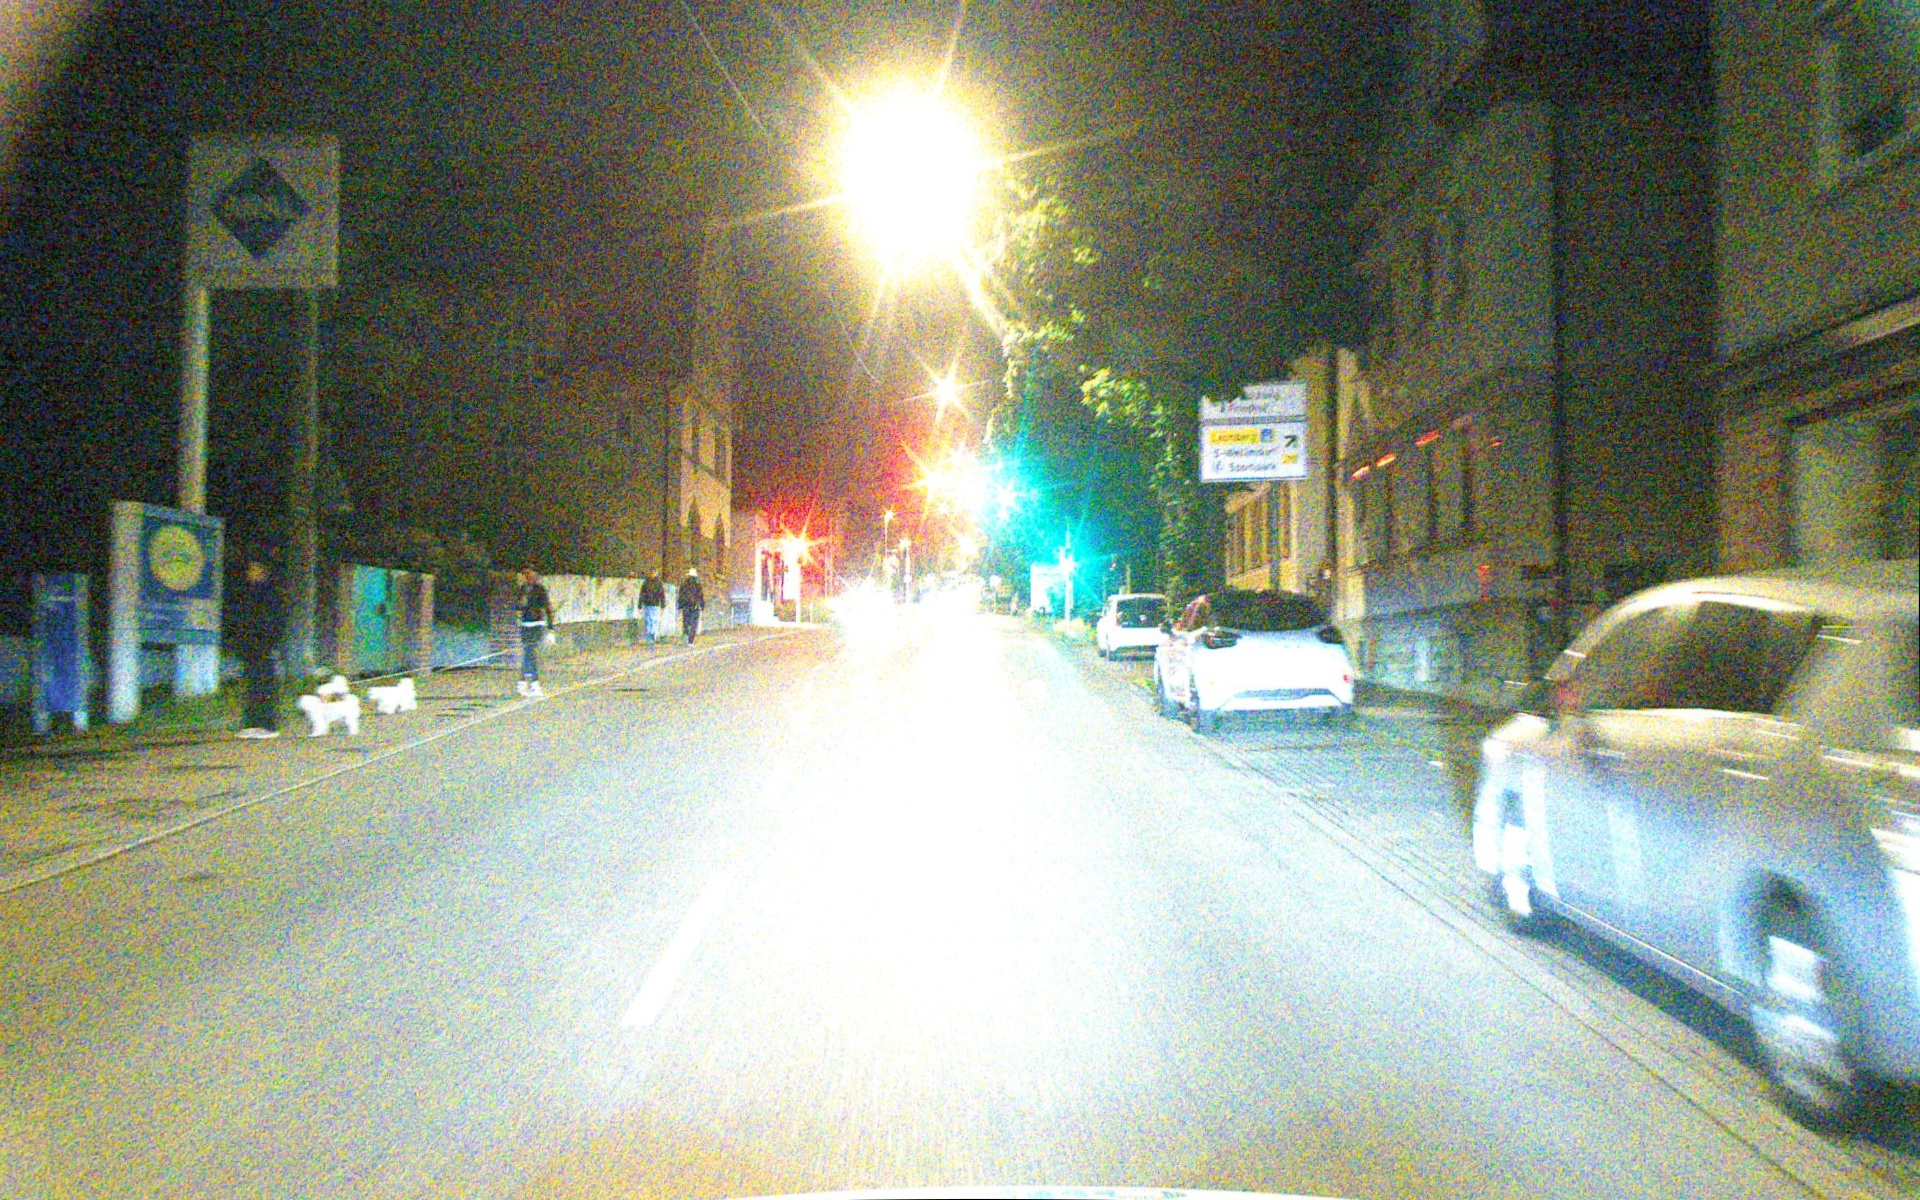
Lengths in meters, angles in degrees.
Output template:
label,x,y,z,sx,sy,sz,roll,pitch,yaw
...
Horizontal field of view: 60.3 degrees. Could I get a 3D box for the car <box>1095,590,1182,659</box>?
label,x,y,z,sx,sy,sz,roll,pitch,yaw
car,4.124,0.534,38.700,1.596,1.522,3.414,1,0,-1

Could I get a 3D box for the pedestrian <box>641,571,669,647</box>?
label,x,y,z,sx,sy,sz,roll,pitch,yaw
pedestrian,-7.018,0.205,38.080,0.559,1.729,0.928,1,-1,-9

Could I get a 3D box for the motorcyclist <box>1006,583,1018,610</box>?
label,x,y,z,sx,sy,sz,roll,pitch,yaw
motorcyclist,3.491,-0.259,111.105,0.831,1.783,0.805,1,-1,1

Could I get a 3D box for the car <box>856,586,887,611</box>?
label,x,y,z,sx,sy,sz,roll,pitch,yaw
car,-5.515,-0.093,103.365,1.680,1.483,3.922,1,-1,1

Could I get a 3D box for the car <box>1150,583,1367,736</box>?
label,x,y,z,sx,sy,sz,roll,pitch,yaw
car,3.378,0.600,19.459,1.830,1.553,4.150,-1,1,1

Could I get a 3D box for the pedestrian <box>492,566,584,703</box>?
label,x,y,z,sx,sy,sz,roll,pitch,yaw
pedestrian,-5.567,0.448,21.851,0.748,1.729,0.927,3,0,14

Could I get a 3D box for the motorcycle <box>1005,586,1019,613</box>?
label,x,y,z,sx,sy,sz,roll,pitch,yaw
motorcycle,3.490,-0.052,111.101,0.911,1.783,2.625,1,-1,1

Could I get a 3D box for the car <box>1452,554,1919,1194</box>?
label,x,y,z,sx,sy,sz,roll,pitch,yaw
car,3.328,0.647,6.104,1.775,1.622,4.274,-1,1,1

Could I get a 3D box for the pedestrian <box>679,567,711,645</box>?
label,x,y,z,sx,sy,sz,roll,pitch,yaw
pedestrian,-6.181,0.141,38.602,0.704,1.796,0.602,1,-1,-8

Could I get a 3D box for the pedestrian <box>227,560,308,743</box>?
label,x,y,z,sx,sy,sz,roll,pitch,yaw
pedestrian,-6.689,0.493,15.995,0.569,1.729,0.530,1,-1,-8

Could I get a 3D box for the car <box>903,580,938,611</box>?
label,x,y,z,sx,sy,sz,roll,pitch,yaw
car,-2.290,-0.232,97.530,1.904,1.747,4.000,1,-1,1
